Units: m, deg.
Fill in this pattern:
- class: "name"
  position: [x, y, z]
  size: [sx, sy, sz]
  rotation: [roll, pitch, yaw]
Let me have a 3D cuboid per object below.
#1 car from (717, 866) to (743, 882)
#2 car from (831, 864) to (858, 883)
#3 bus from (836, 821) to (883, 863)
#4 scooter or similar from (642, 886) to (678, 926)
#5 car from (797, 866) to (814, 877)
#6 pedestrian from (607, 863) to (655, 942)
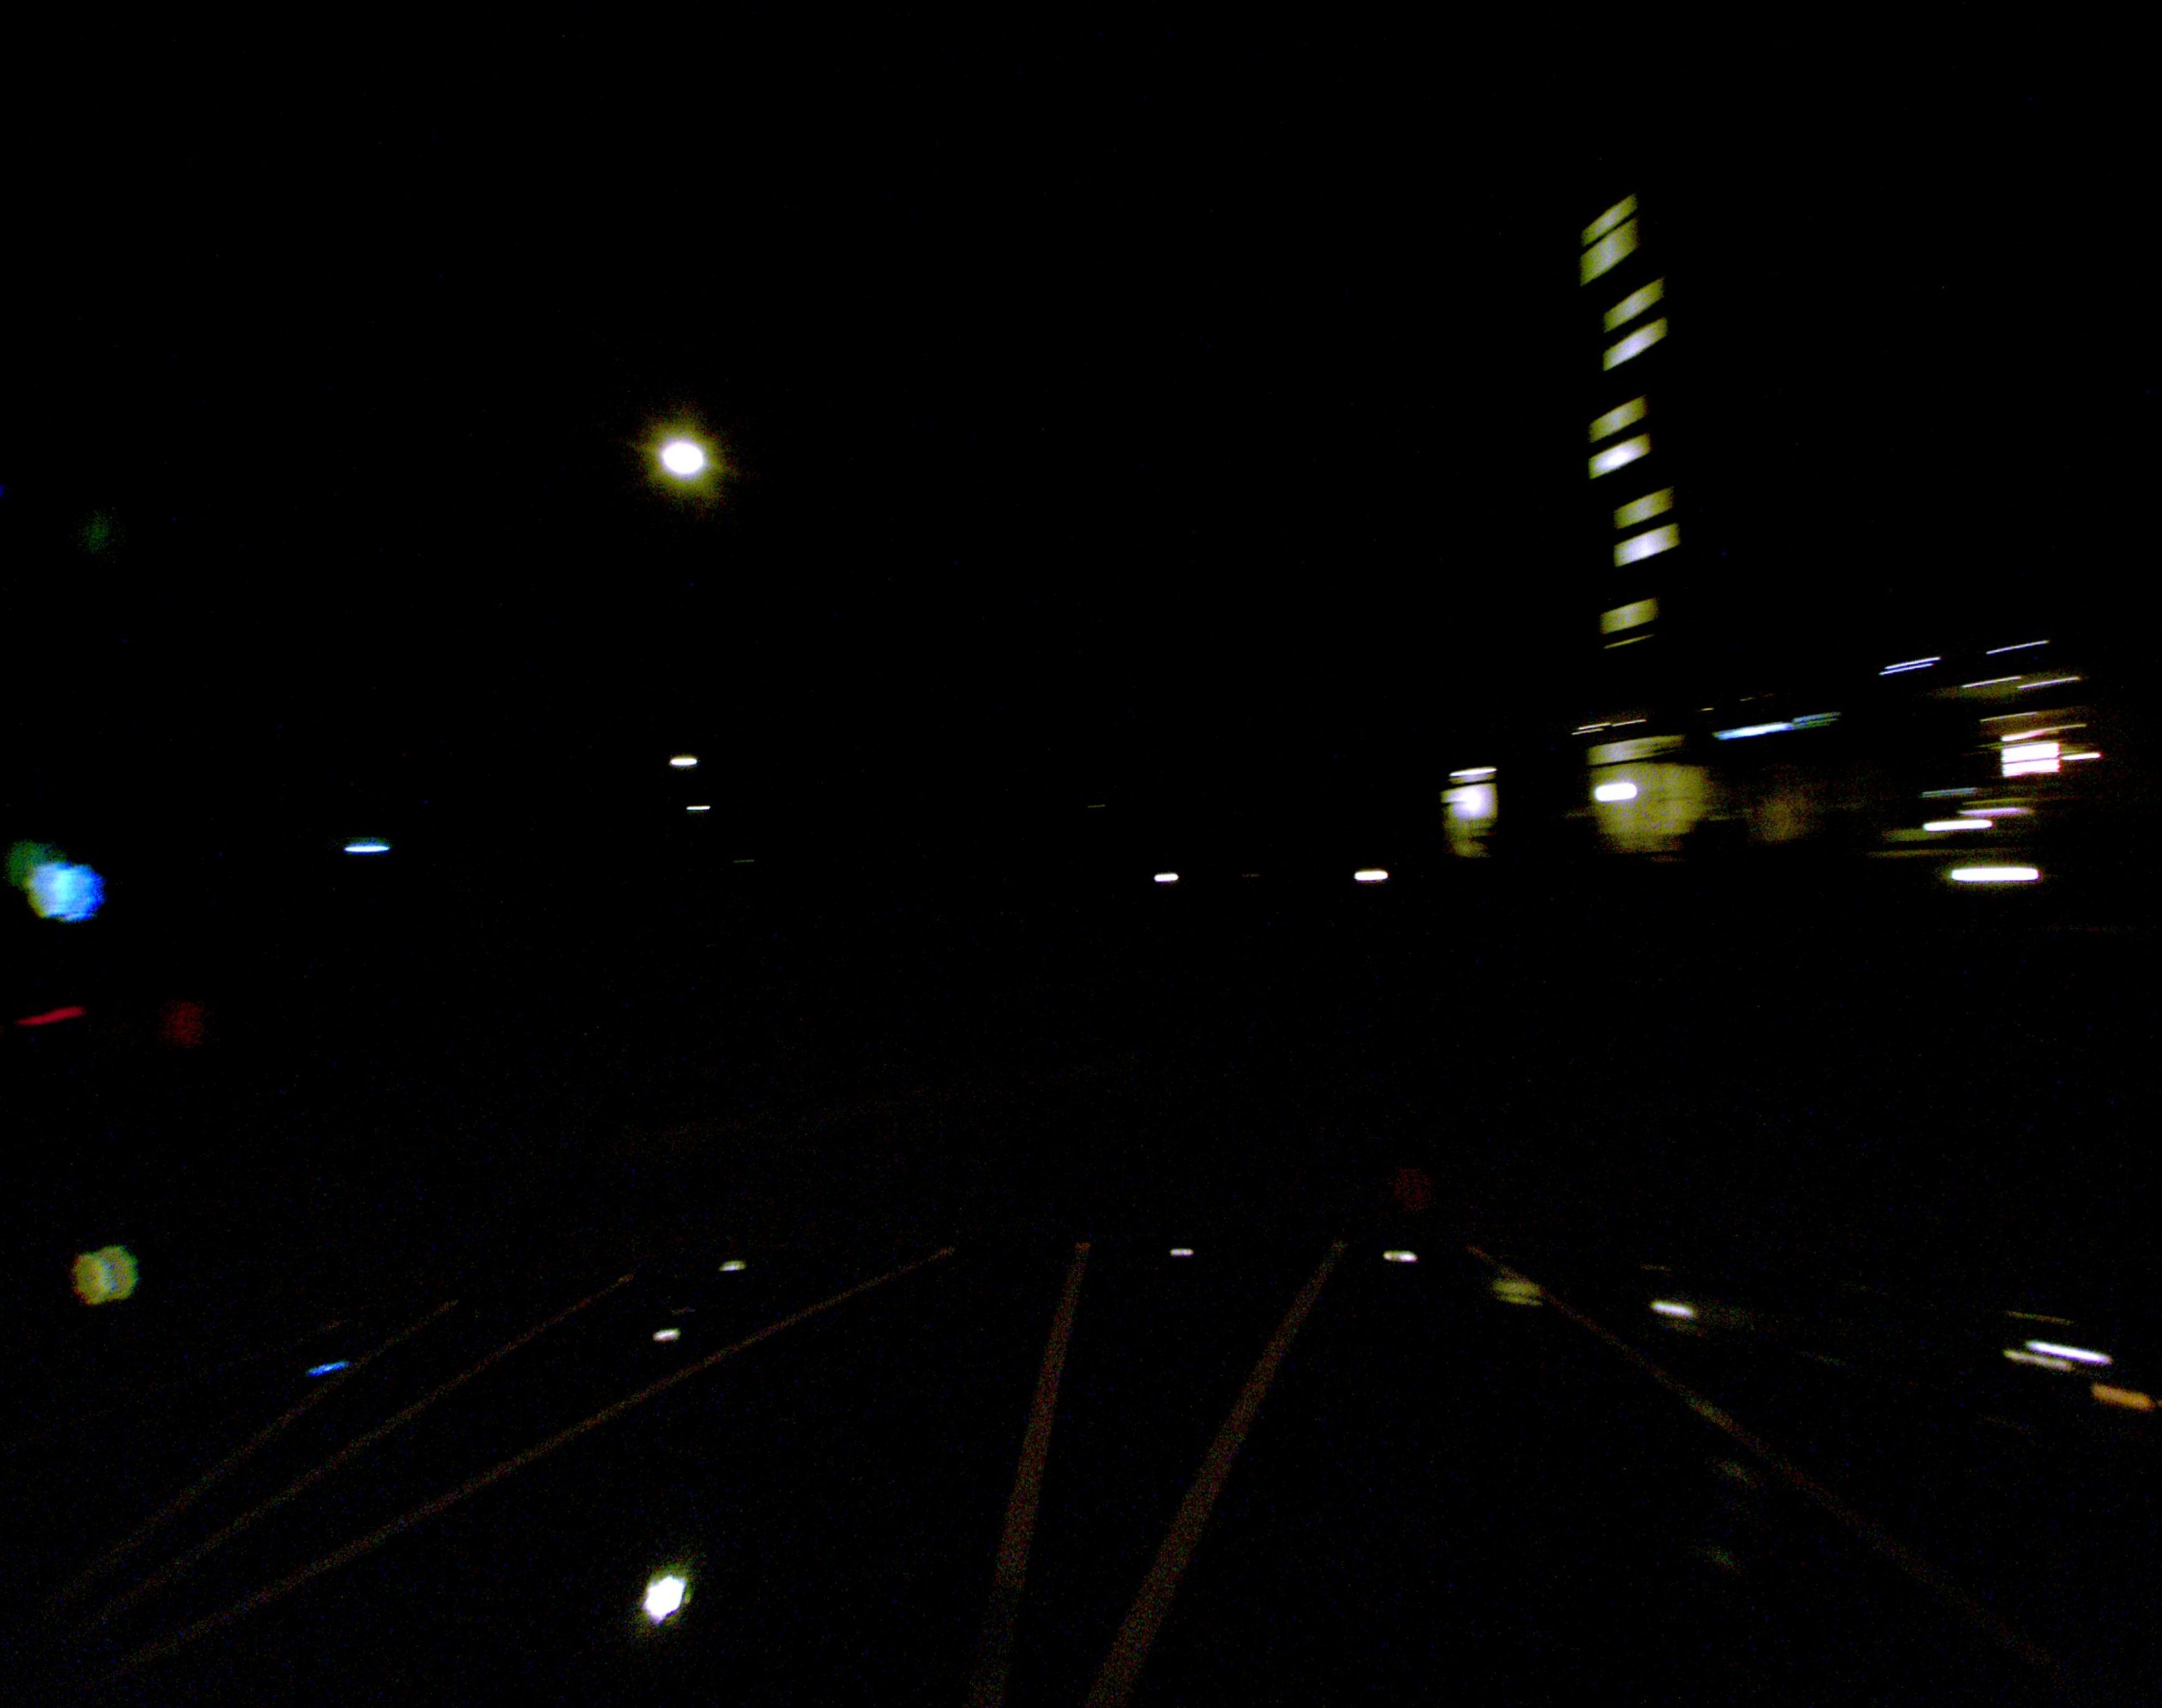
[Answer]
- class: "car"
  position: [-38.348, 2.140, 83.040]
  size: [2.001, 1.637, 3.994]
  rotation: [-1, 0, -17]
- class: "car"
  position: [-21.597, 1.766, 69.414]
  size: [1.809, 1.583, 3.992]
  rotation: [-3, 0, -24]
- class: "bus"
  position: [-39.825, -1.927, 136.068]
  size: [6.146, 6.897, 14.755]
  rotation: [-3, 0, -23]
- class: "scooter or similar"
  position: [-13.339, 1.626, 24.108]
  size: [0.469, 1.195, 1.135]
  rotation: [-3, -1, 0]
- class: "car"
  position: [-38.168, 2.434, 105.210]
  size: [1.867, 1.484, 4.073]
  rotation: [-3, 0, -23]
- class: "pedestrian"
  position: [-11.171, 1.181, 18.908]
  size: [0.821, 1.854, 1.032]
  rotation: [-3, 1, -23]
